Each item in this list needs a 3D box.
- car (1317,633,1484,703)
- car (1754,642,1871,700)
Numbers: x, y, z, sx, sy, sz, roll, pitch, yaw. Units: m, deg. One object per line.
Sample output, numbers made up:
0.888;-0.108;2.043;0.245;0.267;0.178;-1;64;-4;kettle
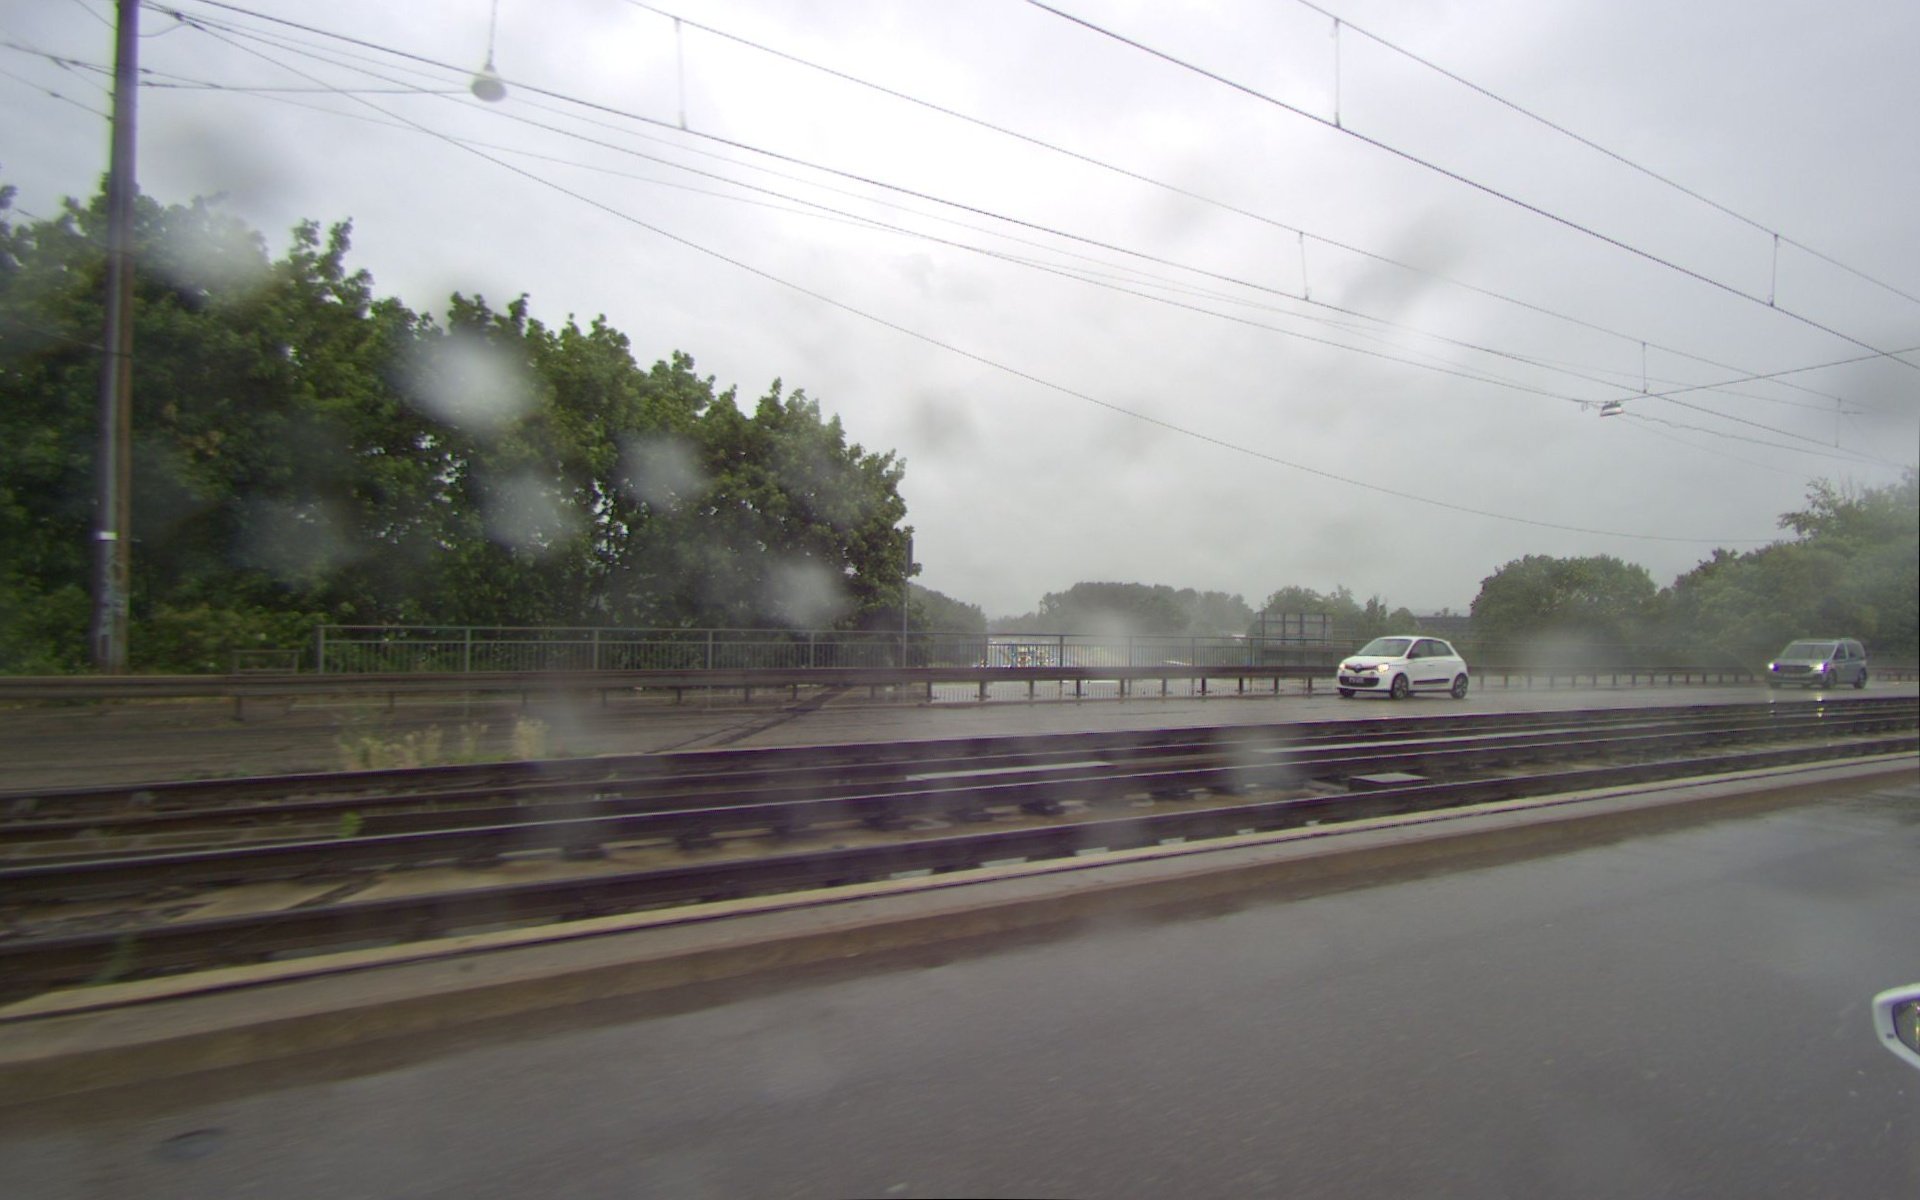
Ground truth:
11.261;1.741;25.652;3.954;1.638;1.984;3;-2;-30;car
31.076;2.603;36.586;4.343;1.856;1.839;3;1;-30;car
